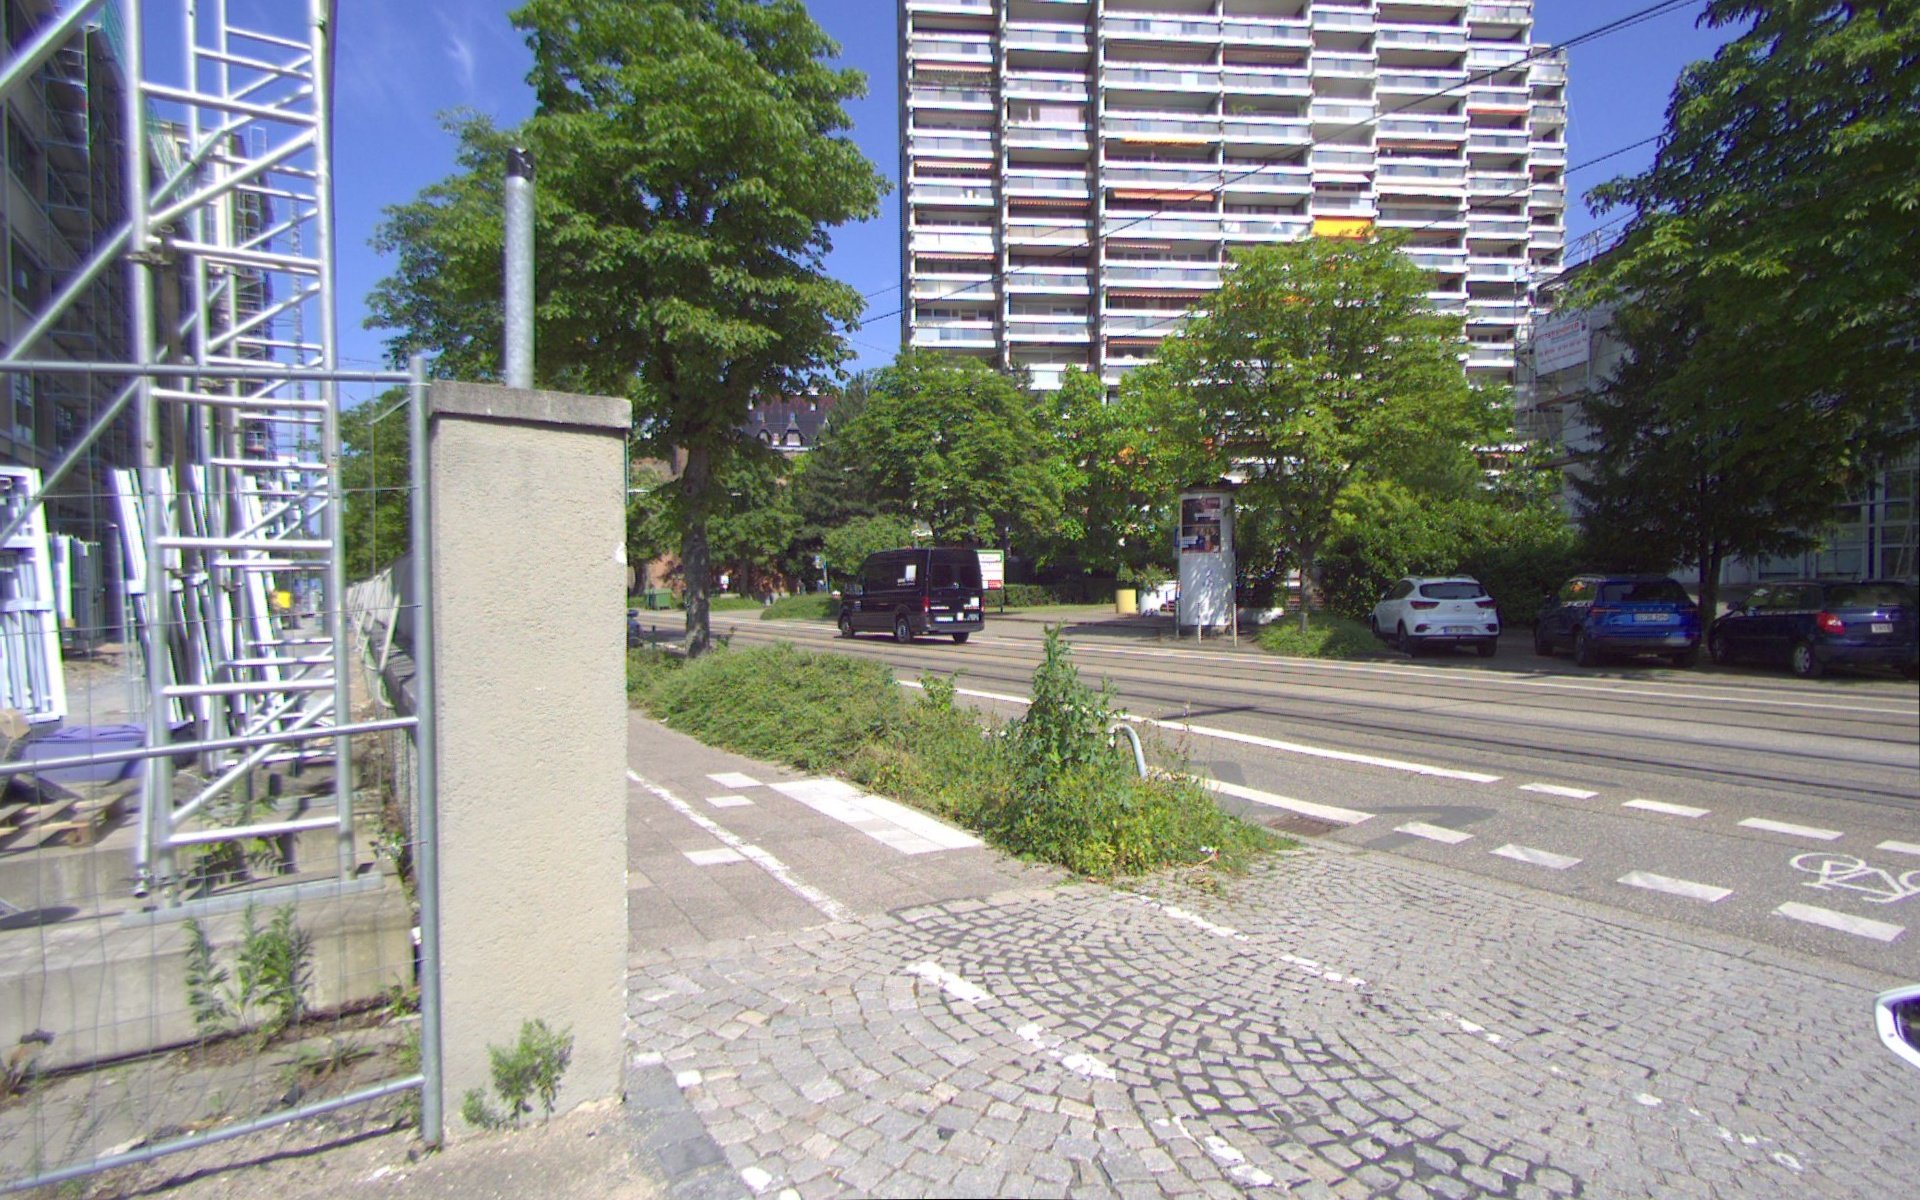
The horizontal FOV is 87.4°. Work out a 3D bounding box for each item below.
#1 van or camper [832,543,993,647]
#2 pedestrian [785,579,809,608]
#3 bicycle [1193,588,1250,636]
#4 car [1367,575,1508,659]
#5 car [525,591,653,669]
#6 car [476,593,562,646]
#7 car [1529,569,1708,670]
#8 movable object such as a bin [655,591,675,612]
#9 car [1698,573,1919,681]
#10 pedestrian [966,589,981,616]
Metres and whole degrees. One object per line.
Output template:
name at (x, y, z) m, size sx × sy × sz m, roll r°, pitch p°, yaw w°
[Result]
van or camper at (-1.516, -0.168, 28.754) m, size 2.028 × 2.655 × 5.810 m, roll -1°, pitch 1°, yaw -32°
pedestrian at (-10.274, -0.402, 63.294) m, size 1.048 × 1.822 × 1.254 m, roll 0°, pitch 1°, yaw -32°
bicycle at (7.502, 0.323, 28.862) m, size 0.542 × 1.326 × 1.604 m, roll -1°, pitch 1°, yaw -37°
car at (10.135, 0.308, 21.642) m, size 1.783 × 1.628 × 3.947 m, roll 0°, pitch 1°, yaw 10°
car at (-8.123, 0.575, 21.770) m, size 1.801 × 1.514 × 4.071 m, roll -1°, pitch 1°, yaw -32°
car at (-13.233, 0.528, 30.031) m, size 1.801 × 1.473 × 3.965 m, roll -1°, pitch 1°, yaw -32°
car at (12.140, 0.290, 18.815) m, size 1.745 × 1.644 × 3.945 m, roll -1°, pitch 2°, yaw 17°
movable object such as a bin at (-20.858, 0.125, 71.013) m, size 1.249 × 1.473 × 1.072 m, roll 0°, pitch 1°, yaw -27°
car at (13.677, 0.363, 16.230) m, size 1.544 × 1.551 × 3.460 m, roll 0°, pitch 1°, yaw 12°
pedestrian at (0.582, 0.103, 44.533) m, size 0.525 × 1.170 × 0.700 m, roll -1°, pitch 1°, yaw -10°
